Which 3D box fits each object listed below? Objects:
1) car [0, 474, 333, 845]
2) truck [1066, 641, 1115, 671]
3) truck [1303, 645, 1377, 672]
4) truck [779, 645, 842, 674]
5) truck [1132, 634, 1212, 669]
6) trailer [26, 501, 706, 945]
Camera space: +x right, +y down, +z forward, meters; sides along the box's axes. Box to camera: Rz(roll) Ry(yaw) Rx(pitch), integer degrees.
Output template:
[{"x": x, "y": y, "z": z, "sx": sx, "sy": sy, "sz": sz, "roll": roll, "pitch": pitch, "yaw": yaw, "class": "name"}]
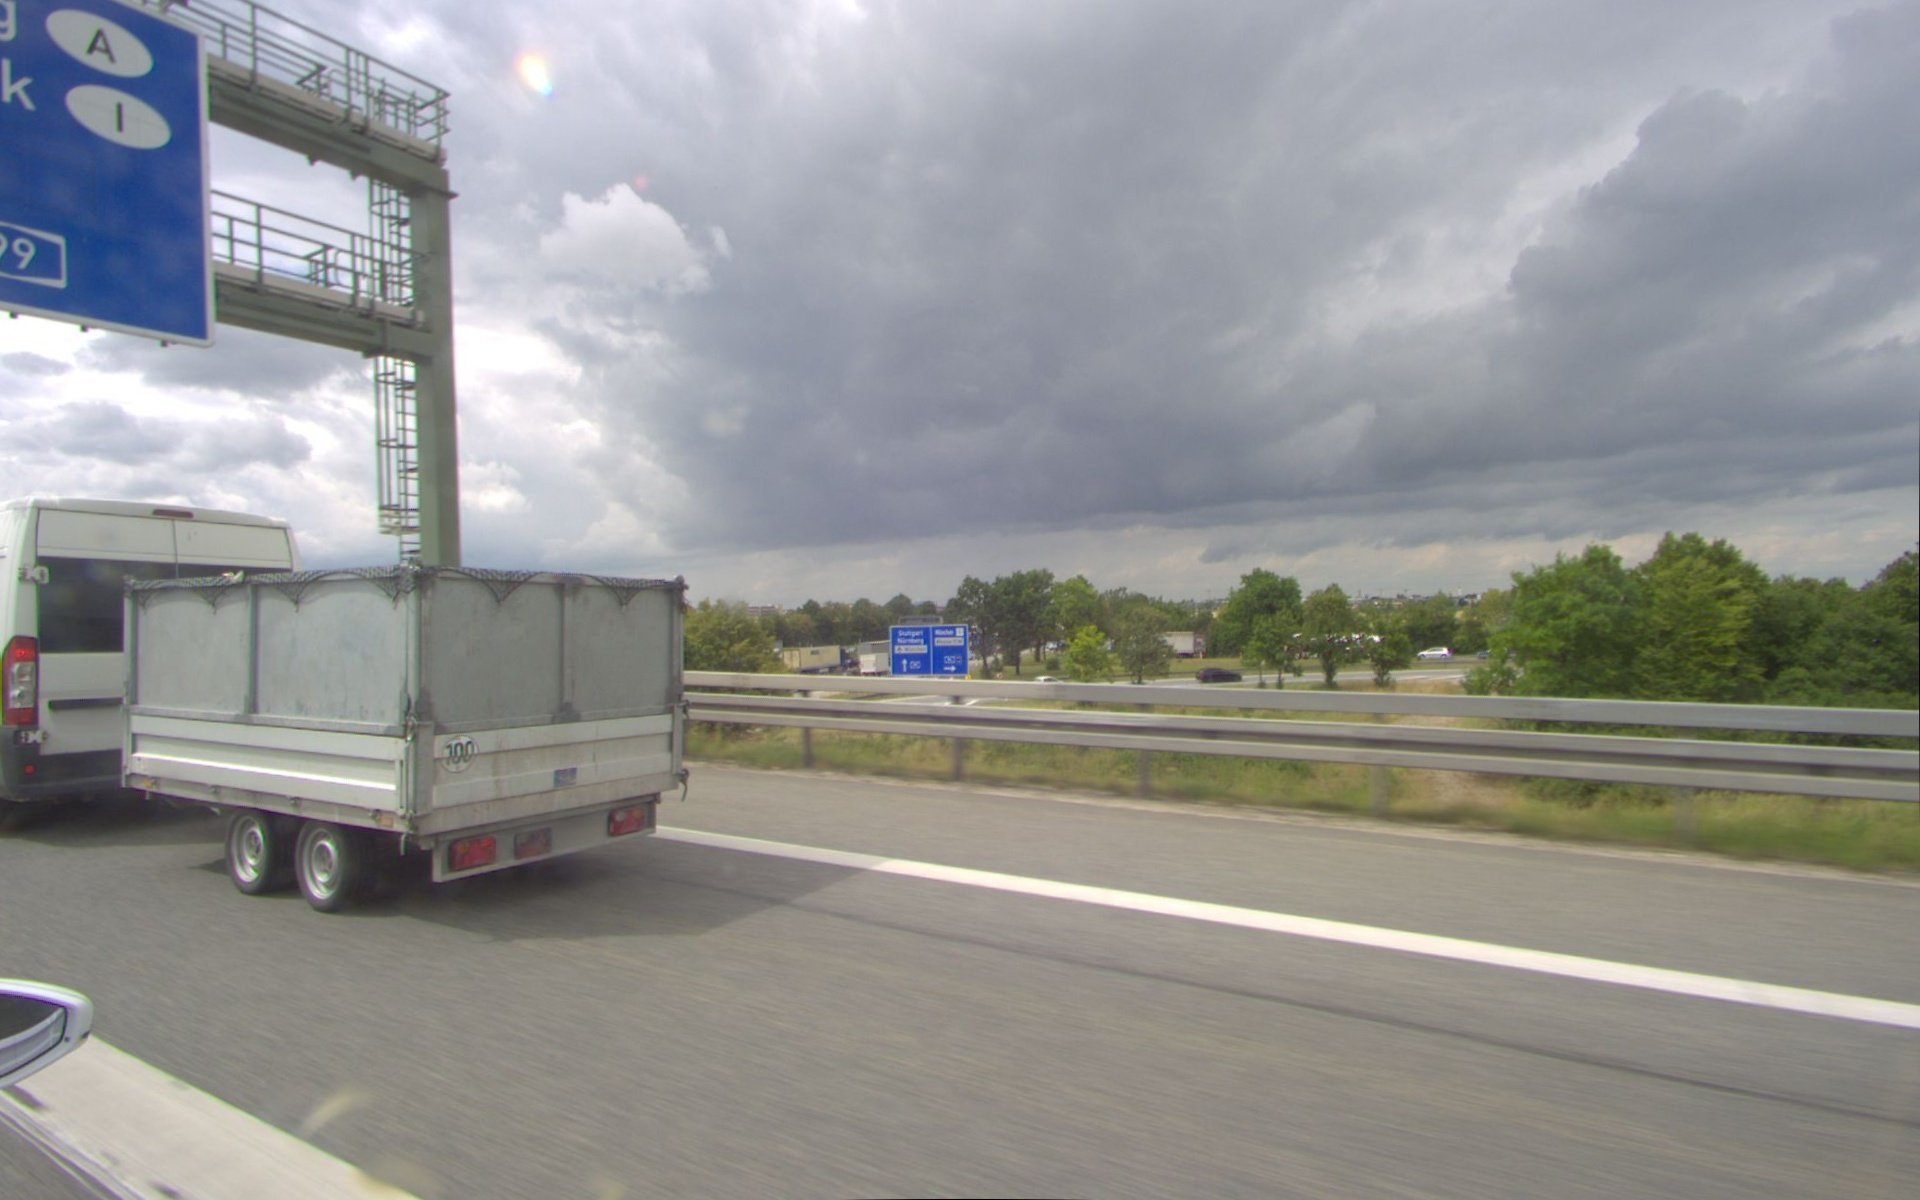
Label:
[{"x": -8.495, "y": 0.465, "z": 9.152, "sx": 6.060, "sy": 2.485, "sz": 2.112, "roll": -1, "pitch": -2, "yaw": 30, "class": "car"}, {"x": 23.780, "y": 10.164, "z": 183.492, "sx": 3.882, "sy": 5.104, "sz": 12.983, "roll": 1, "pitch": -2, "yaw": -16, "class": "truck"}, {"x": 51.196, "y": 7.794, "z": 135.196, "sx": 3.307, "sy": 3.410, "sz": 8.947, "roll": 2, "pitch": -2, "yaw": -41, "class": "truck"}, {"x": -21.158, "y": 8.457, "z": 142.817, "sx": 3.252, "sy": 3.985, "sz": 13.724, "roll": 0, "pitch": -3, "yaw": 17, "class": "truck"}, {"x": 33.423, "y": 8.007, "z": 158.938, "sx": 3.804, "sy": 5.281, "sz": 14.792, "roll": 1, "pitch": -2, "yaw": -28, "class": "truck"}, {"x": -4.011, "y": 0.620, "z": 6.569, "sx": 4.562, "sy": 2.039, "sz": 1.853, "roll": -1, "pitch": -2, "yaw": 30, "class": "trailer"}]
